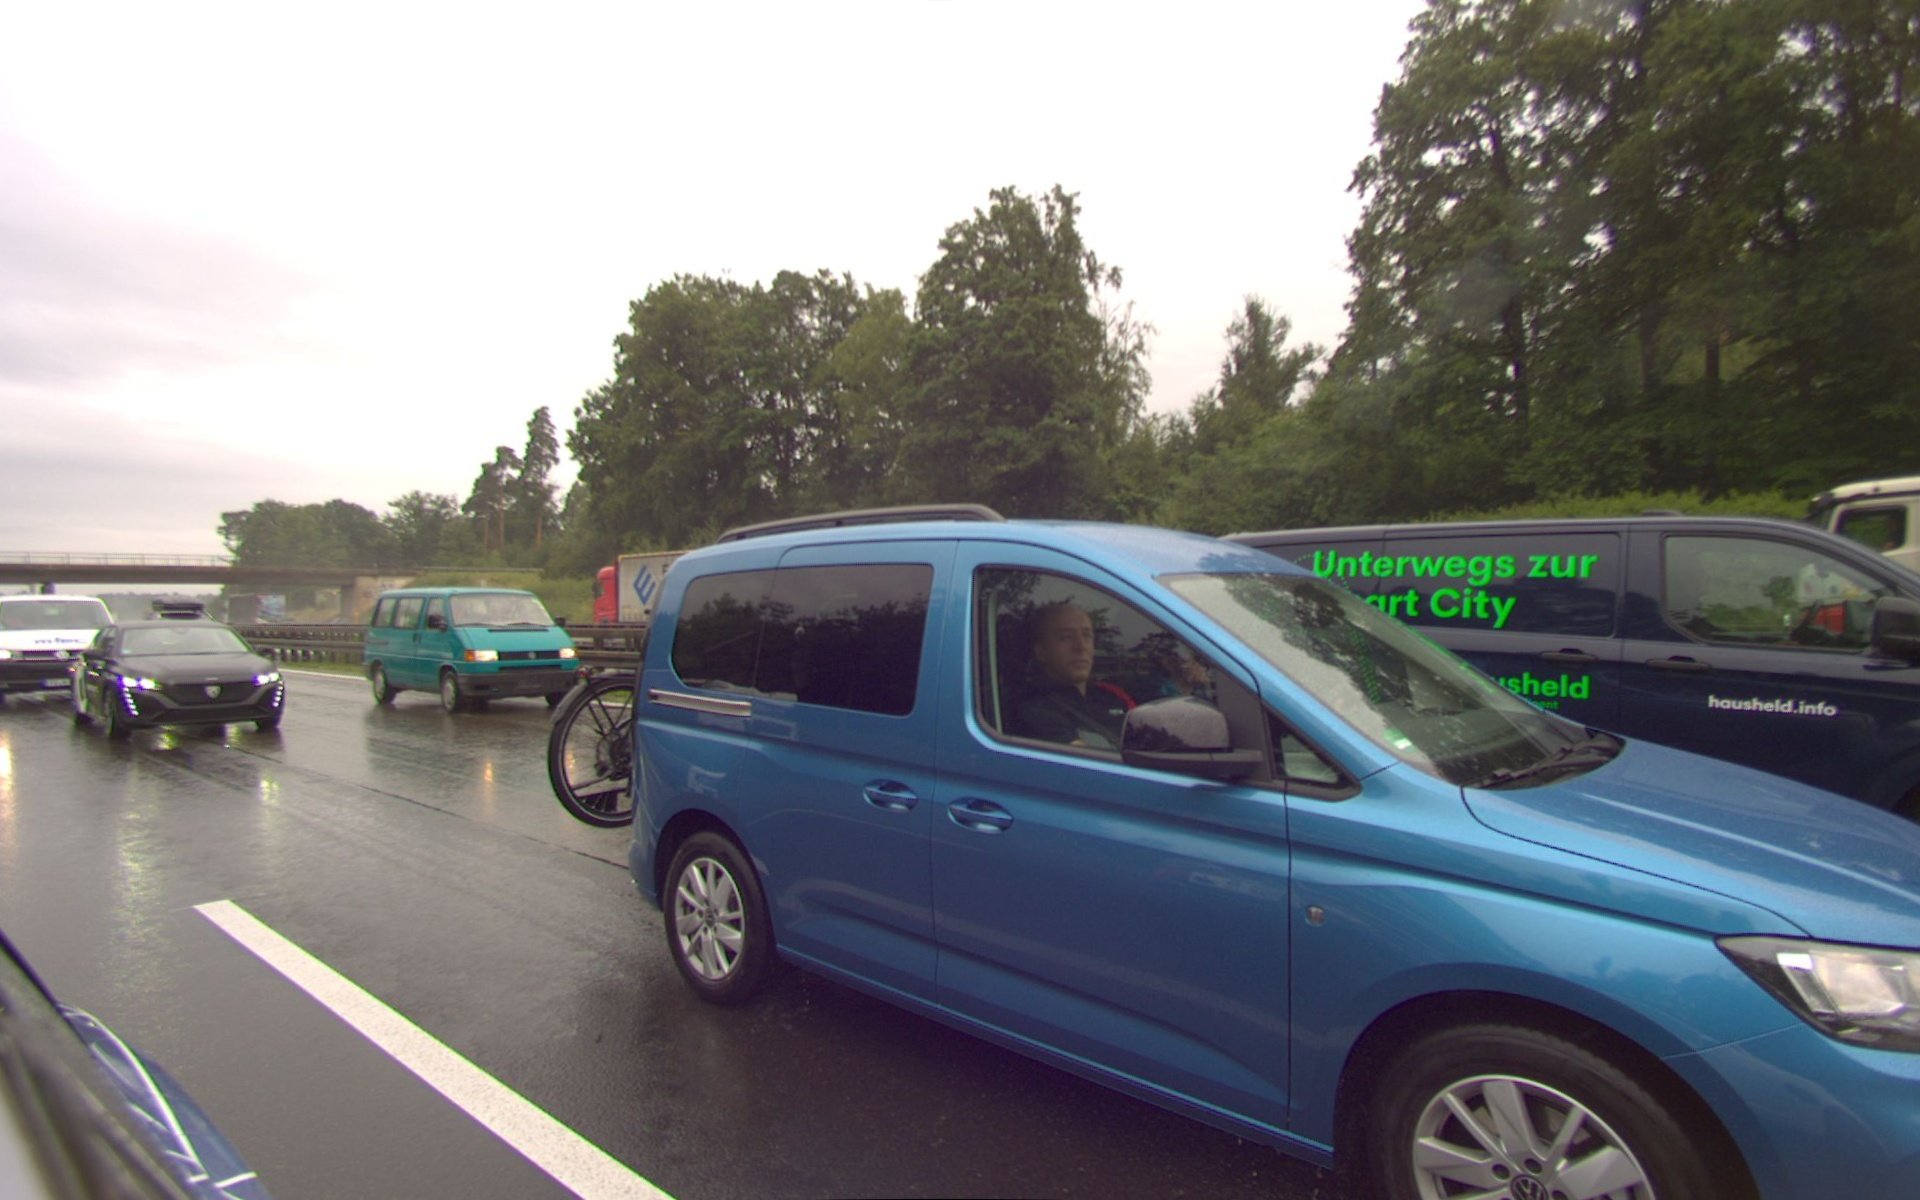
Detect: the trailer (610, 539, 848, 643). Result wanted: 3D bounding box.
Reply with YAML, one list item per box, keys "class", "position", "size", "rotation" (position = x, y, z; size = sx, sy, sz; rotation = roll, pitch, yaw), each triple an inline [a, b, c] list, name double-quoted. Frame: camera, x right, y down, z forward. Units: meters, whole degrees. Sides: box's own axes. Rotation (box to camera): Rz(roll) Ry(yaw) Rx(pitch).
- class: "trailer"
  position: [-10.578, -0.219, 44.529]
  size: [13.957, 3.984, 2.690]
  rotation: [-1, -2, 42]

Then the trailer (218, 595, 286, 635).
- class: "trailer"
  position: [-73.030, 1.598, 104.197]
  size: [13.559, 3.847, 2.992]
  rotation: [-2, -1, 43]

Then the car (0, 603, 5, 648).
- class: "car"
  position: [-35.918, 0.960, 36.428]
  size: [4.767, 1.572, 1.968]
  rotation: [-2, -1, 43]

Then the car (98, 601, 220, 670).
- class: "car"
  position: [-23.402, 0.997, 29.518]
  size: [4.603, 1.839, 1.957]
  rotation: [-1, 0, 41]

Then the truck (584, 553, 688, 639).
- class: "truck"
  position: [-15.811, -0.111, 49.258]
  size: [4.889, 3.984, 2.675]
  rotation: [-1, -2, 42]

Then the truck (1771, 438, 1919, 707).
- class: "truck"
  position: [16.167, -0.420, 14.851]
  size: [6.533, 3.984, 2.352]
  rotation: [-1, -2, 41]

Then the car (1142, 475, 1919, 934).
- class: "car"
  position: [3.840, 0.456, 5.898]
  size: [5.243, 1.958, 1.969]
  rotation: [-1, 0, 43]

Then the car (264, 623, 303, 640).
- class: "car"
  position: [-54.118, 2.502, 80.965]
  size: [3.755, 1.314, 1.683]
  rotation: [-2, -1, 42]

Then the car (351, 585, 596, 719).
- class: "car"
  position: [-7.994, 0.753, 16.406]
  size: [4.757, 1.877, 1.890]
  rotation: [-1, 0, 42]

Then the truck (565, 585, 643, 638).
- class: "truck"
  position: [-22.883, 0.770, 64.945]
  size: [5.785, 3.262, 2.351]
  rotation: [-1, -2, 43]

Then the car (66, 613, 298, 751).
- class: "car"
  position: [-10.550, 0.962, 13.594]
  size: [4.467, 1.516, 1.825]
  rotation: [-1, 0, 44]

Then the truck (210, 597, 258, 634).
- class: "truck"
  position: [-78.114, 1.717, 108.911]
  size: [6.263, 3.847, 2.988]
  rotation: [-2, -1, 42]

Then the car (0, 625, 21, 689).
- class: "car"
  position: [-25.185, 1.421, 25.624]
  size: [4.467, 1.516, 1.825]
  rotation: [-1, -1, 44]

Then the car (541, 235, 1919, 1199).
- class: "car"
  position: [0.682, 0.469, 3.713]
  size: [5.016, 1.926, 2.244]
  rotation: [-2, -1, 43]

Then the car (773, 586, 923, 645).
- class: "car"
  position: [-3.818, 0.515, 33.847]
  size: [5.219, 1.839, 1.957]
  rotation: [-1, 0, 41]

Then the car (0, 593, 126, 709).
- class: "car"
  position: [-17.111, 0.891, 18.796]
  size: [4.768, 1.894, 1.968]
  rotation: [-2, -1, 44]

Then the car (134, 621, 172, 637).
- class: "car"
  position: [-78.847, 2.846, 98.828]
  size: [4.703, 1.519, 1.973]
  rotation: [-2, -2, 40]

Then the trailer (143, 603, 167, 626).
- class: "trailer"
  position: [-138.341, 2.500, 173.843]
  size: [2.651, 3.847, 9.016]
  rotation: [0, -1, -43]
